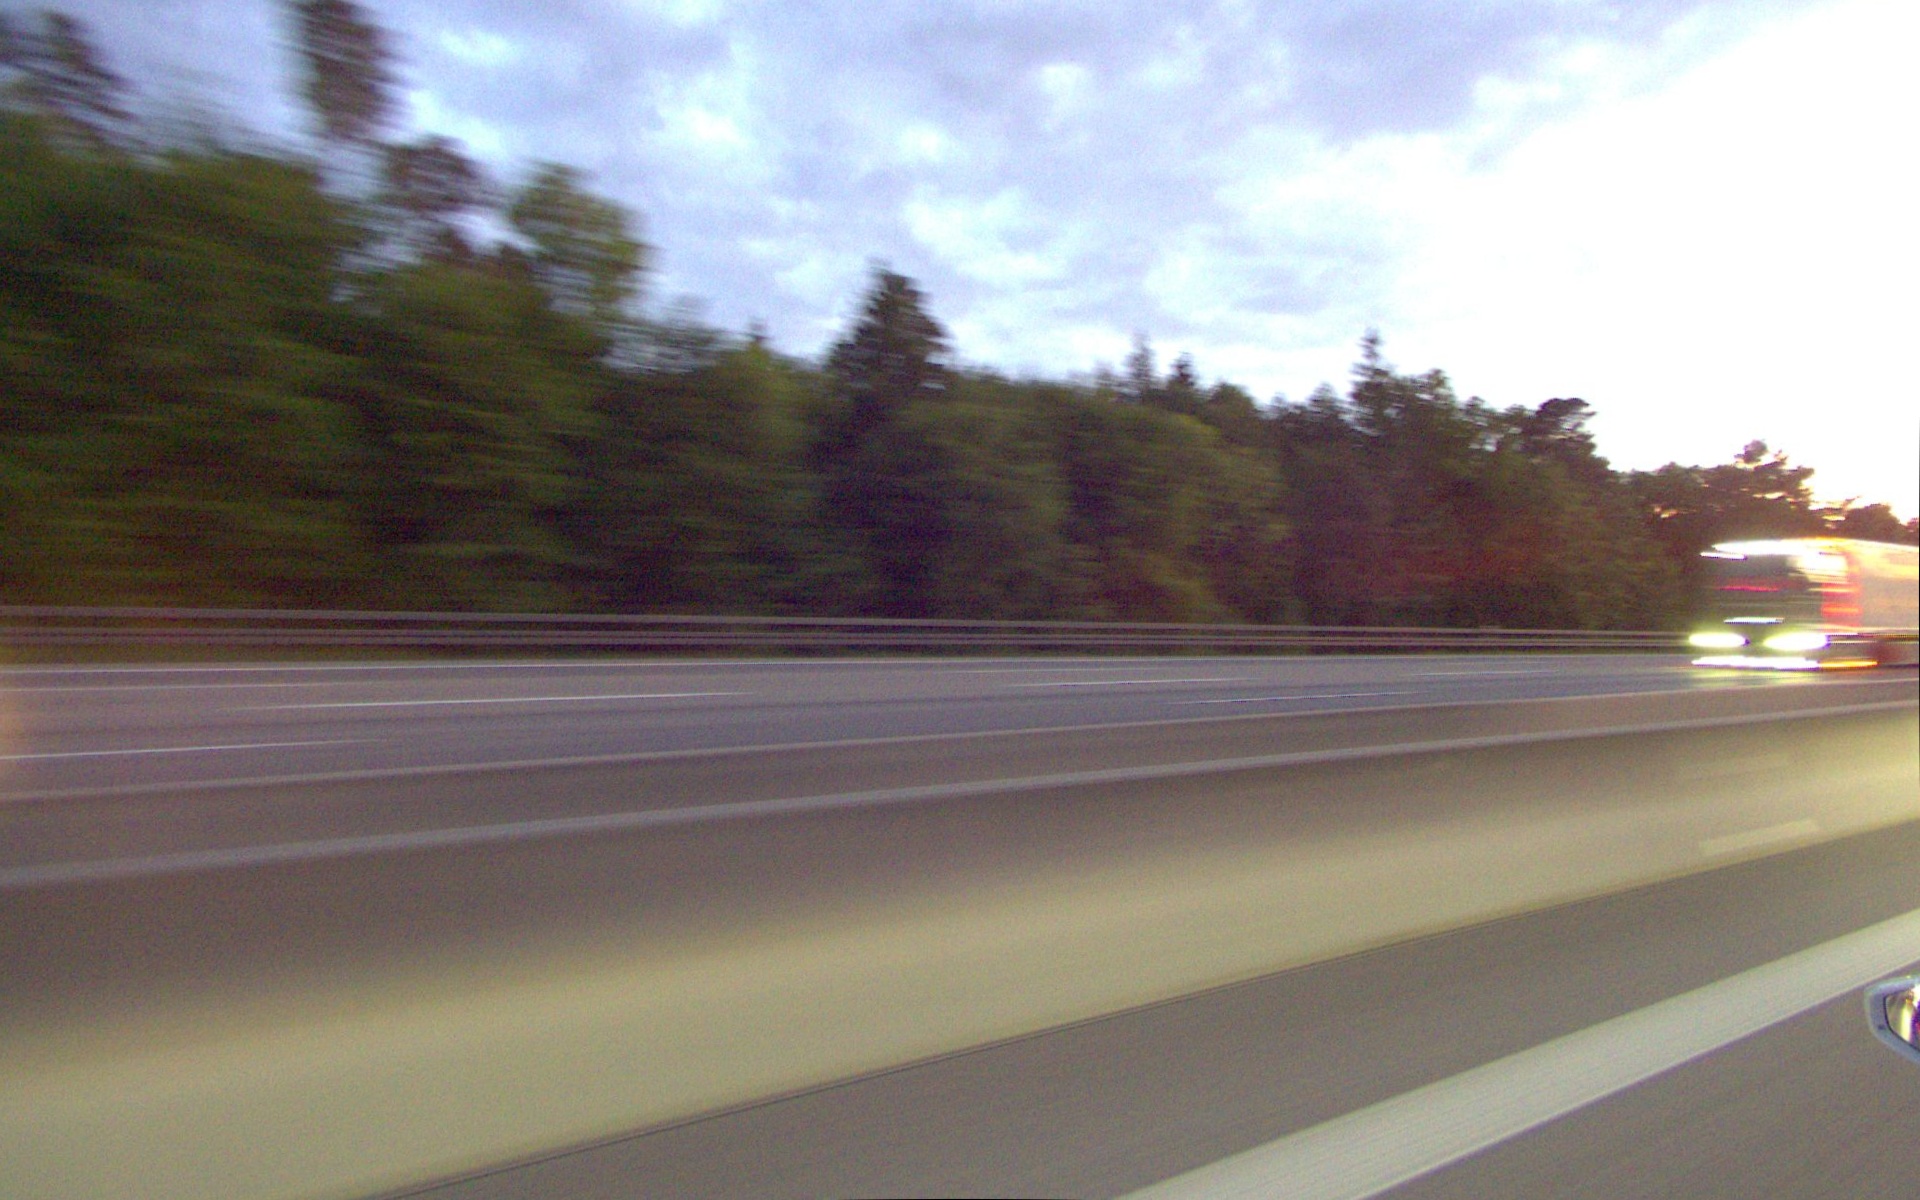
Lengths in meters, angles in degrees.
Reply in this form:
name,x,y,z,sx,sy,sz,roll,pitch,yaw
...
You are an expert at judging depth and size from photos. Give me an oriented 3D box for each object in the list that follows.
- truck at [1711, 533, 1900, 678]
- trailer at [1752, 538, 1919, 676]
name,x,y,z,sx,sy,sz,roll,pitch,yaw
truck,26.771,0.225,31.738,6.450,4.186,2.636,1,-1,-31
trailer,32.523,0.355,35.290,14.163,4.186,2.636,1,-1,-31
